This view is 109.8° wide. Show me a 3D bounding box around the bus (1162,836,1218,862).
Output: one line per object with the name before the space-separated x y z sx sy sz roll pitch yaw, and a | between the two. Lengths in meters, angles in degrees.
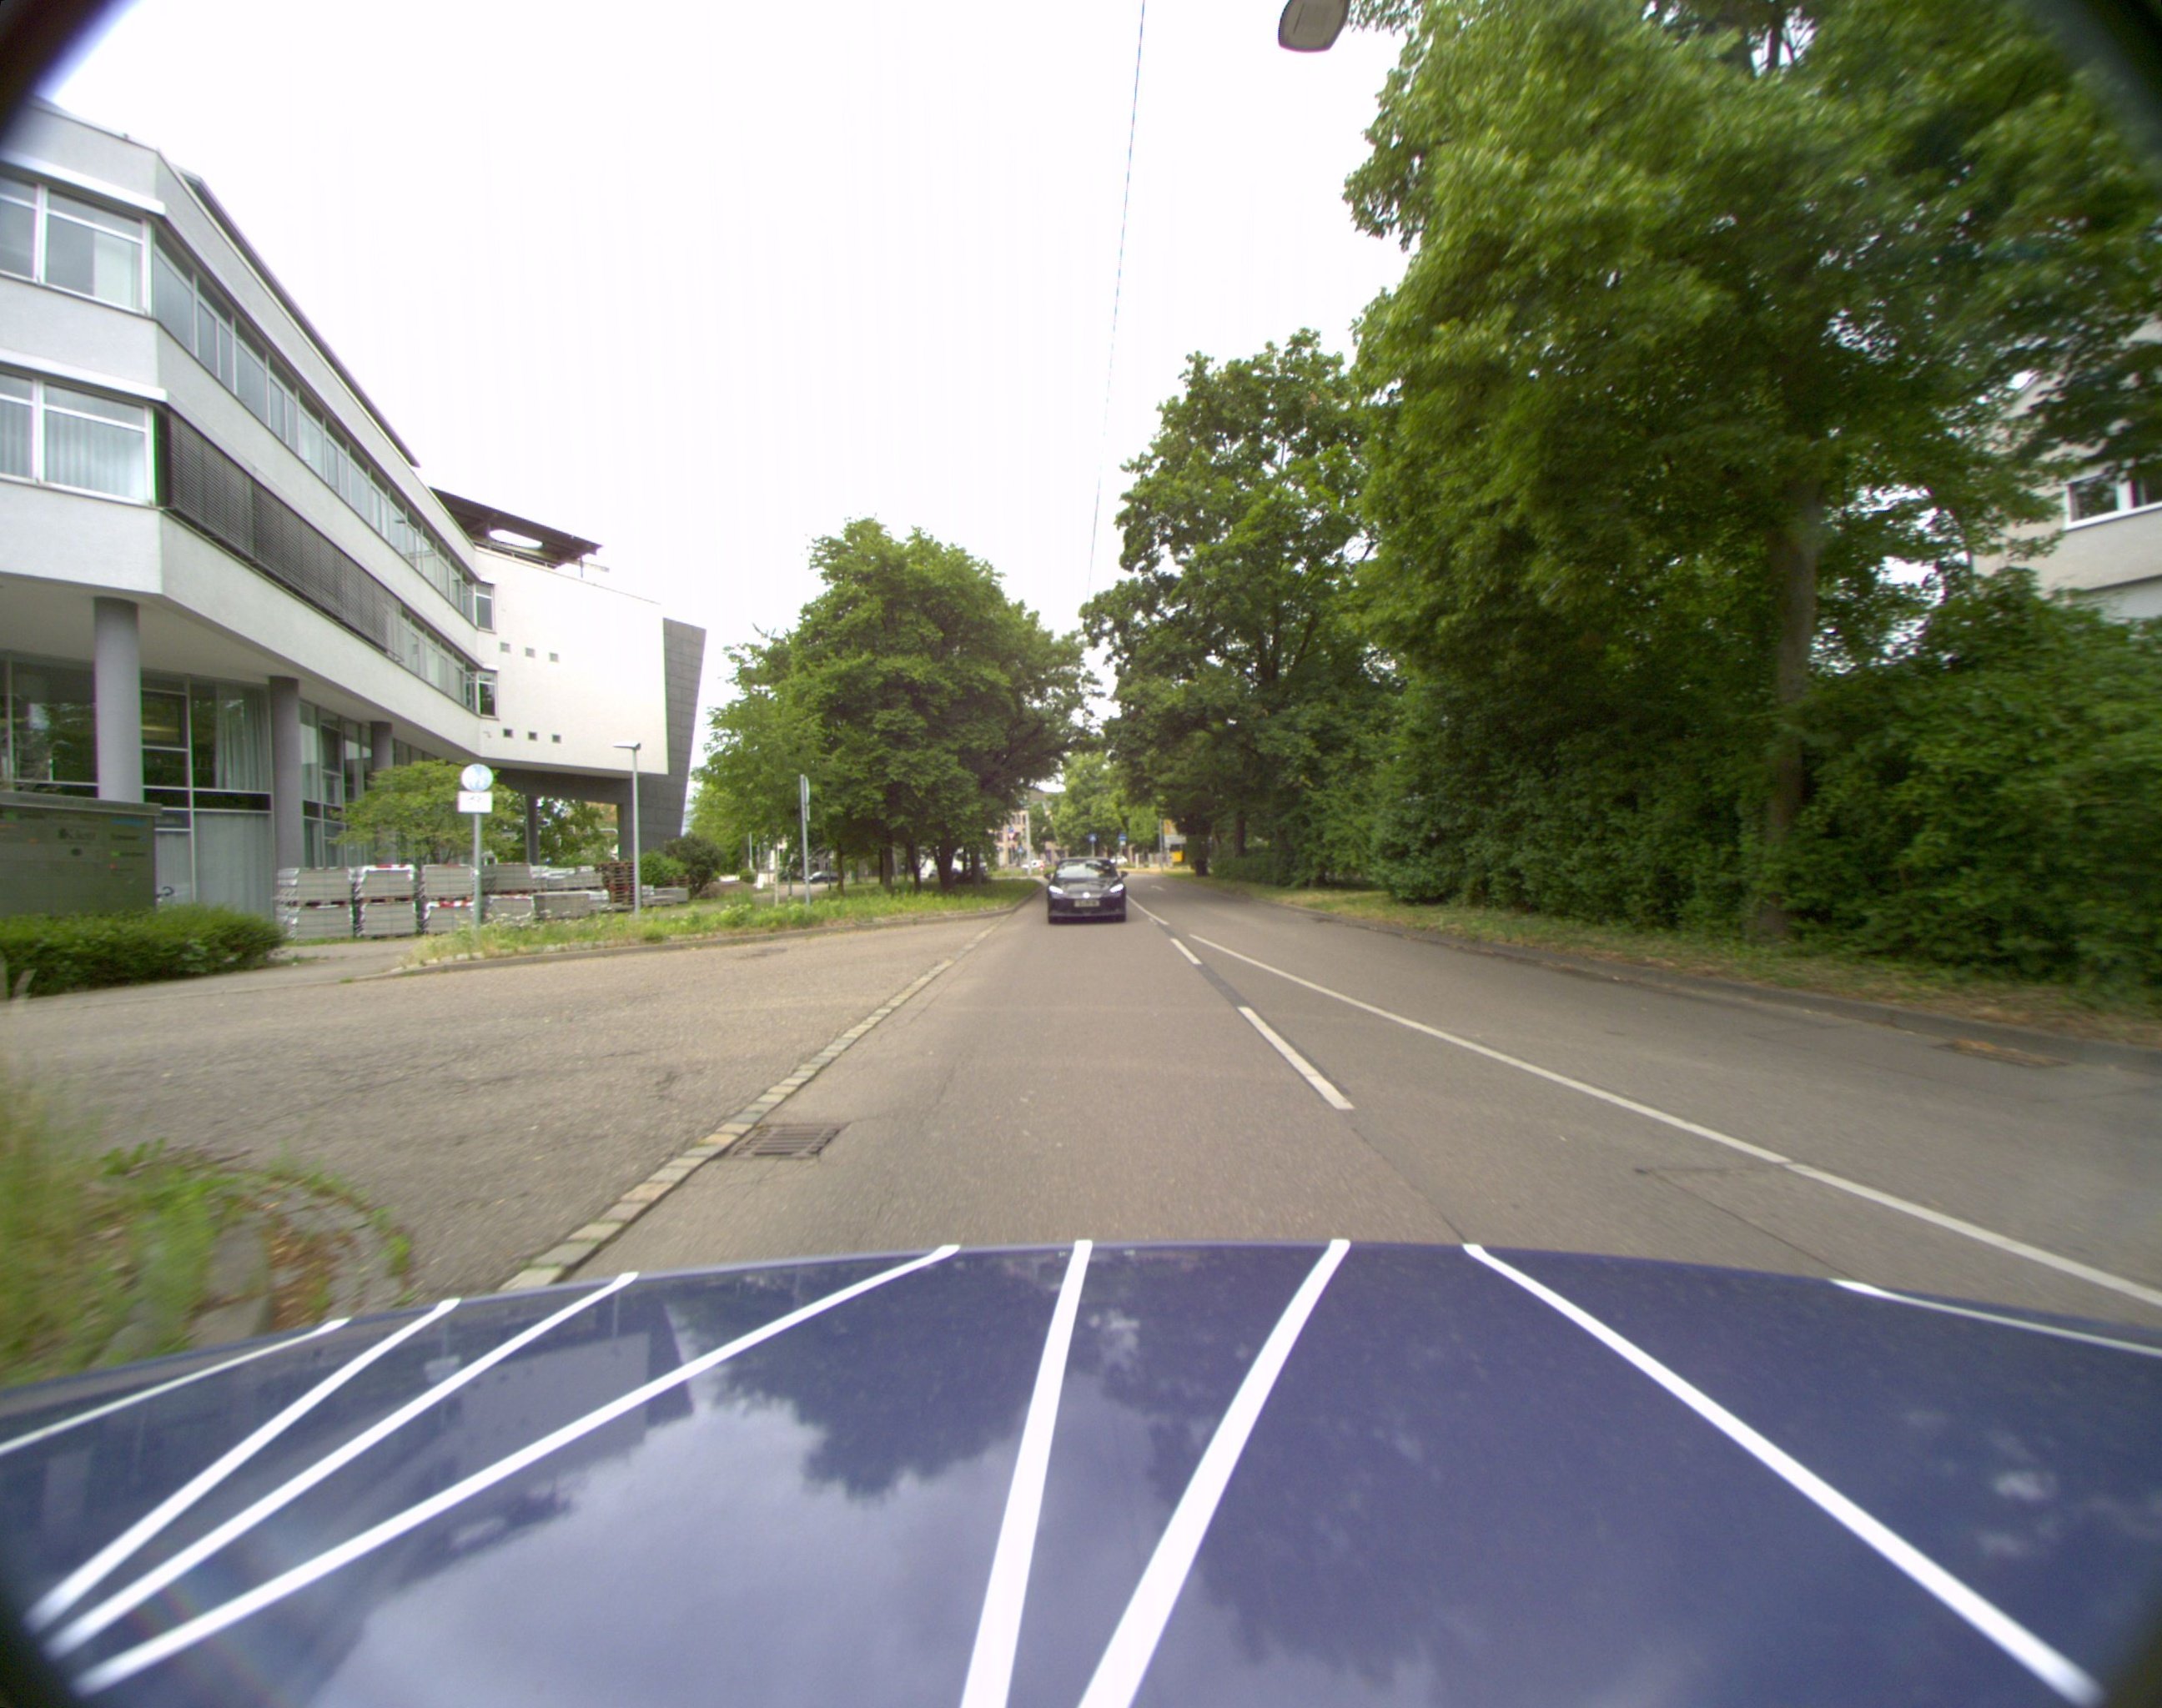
bus | 15.537 -0.713 107.686 8.445 2.991 3.046 -4 -1 -45

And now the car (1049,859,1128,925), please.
car | 0.218 0.888 19.605 1.800 1.475 4.020 -1 0 1

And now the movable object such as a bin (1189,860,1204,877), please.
movable object such as a bin | 6.317 0.775 41.526 0.599 0.840 0.579 -5 0 21

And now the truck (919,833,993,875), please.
truck | -10.112 0.055 61.080 6.448 3.176 2.442 -2 1 45
